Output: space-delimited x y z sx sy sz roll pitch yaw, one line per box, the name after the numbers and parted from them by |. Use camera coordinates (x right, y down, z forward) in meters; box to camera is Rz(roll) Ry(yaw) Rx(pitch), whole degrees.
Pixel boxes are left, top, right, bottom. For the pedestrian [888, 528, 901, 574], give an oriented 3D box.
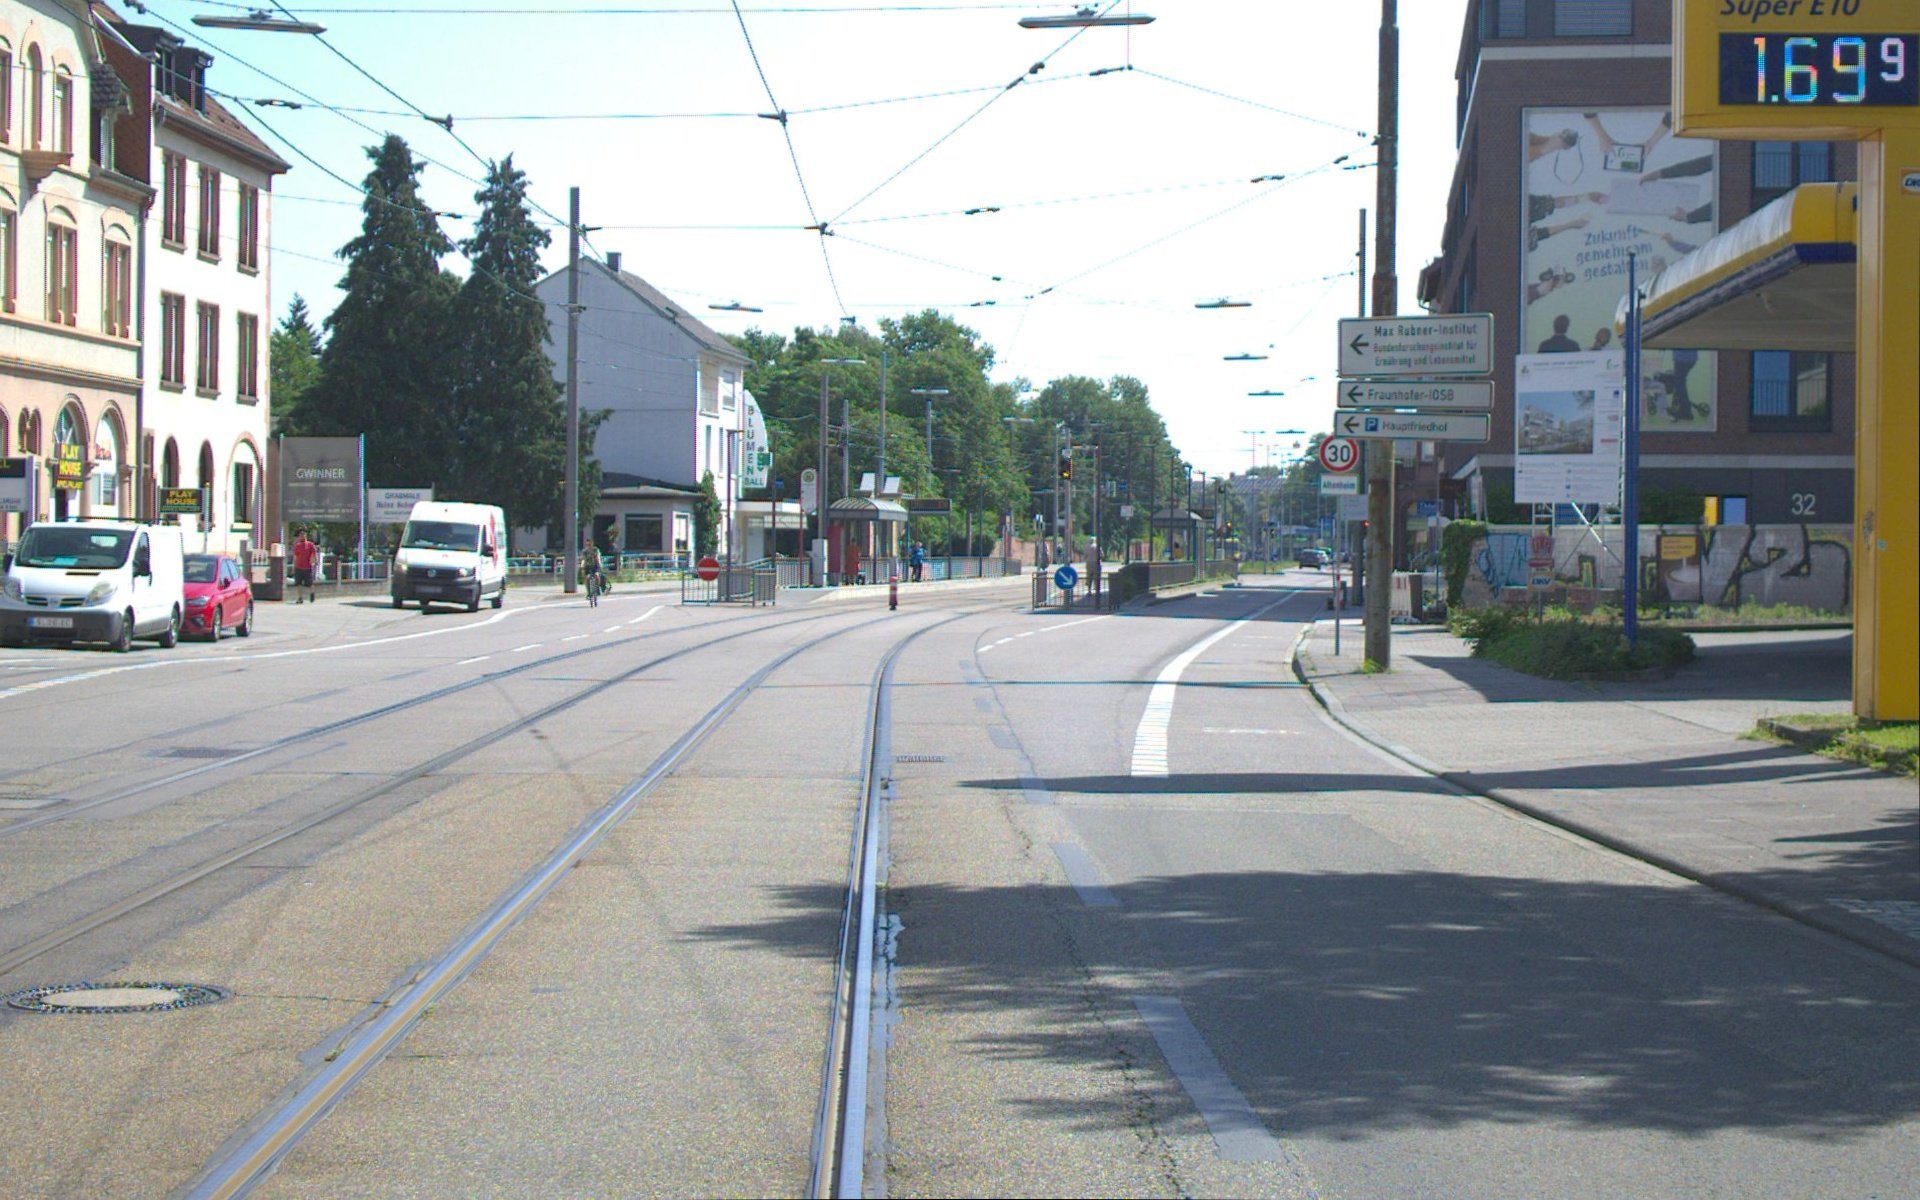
-2.423 -1.815 126.790 0.415 1.684 0.708 0 1 -7 | pedestrian

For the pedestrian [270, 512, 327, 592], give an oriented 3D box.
-15.302 -1.114 79.565 0.942 1.809 1.129 1 1 9 | pedestrian

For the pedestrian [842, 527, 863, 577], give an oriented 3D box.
-3.632 -1.616 116.006 0.705 1.684 0.416 0 1 -1 | pedestrian

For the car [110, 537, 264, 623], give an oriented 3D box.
-13.142 -0.361 58.656 1.720 1.401 4.001 0 1 0 | car

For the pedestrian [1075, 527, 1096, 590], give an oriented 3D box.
3.558 -1.182 97.519 0.556 1.754 0.793 0 1 1 | pedestrian

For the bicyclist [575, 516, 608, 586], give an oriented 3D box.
-9.100 -1.207 84.946 0.716 1.718 0.988 0 1 -1 | bicyclist

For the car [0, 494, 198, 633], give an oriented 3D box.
-13.245 -0.586 52.429 2.084 2.007 4.908 0 1 1 | car

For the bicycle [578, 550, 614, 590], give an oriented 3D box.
-8.989 -0.747 84.974 0.608 0.980 2.164 0 1 2 | bicycle

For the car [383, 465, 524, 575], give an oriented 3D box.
-12.121 -1.942 82.655 2.329 2.527 6.507 0 2 1 | car
